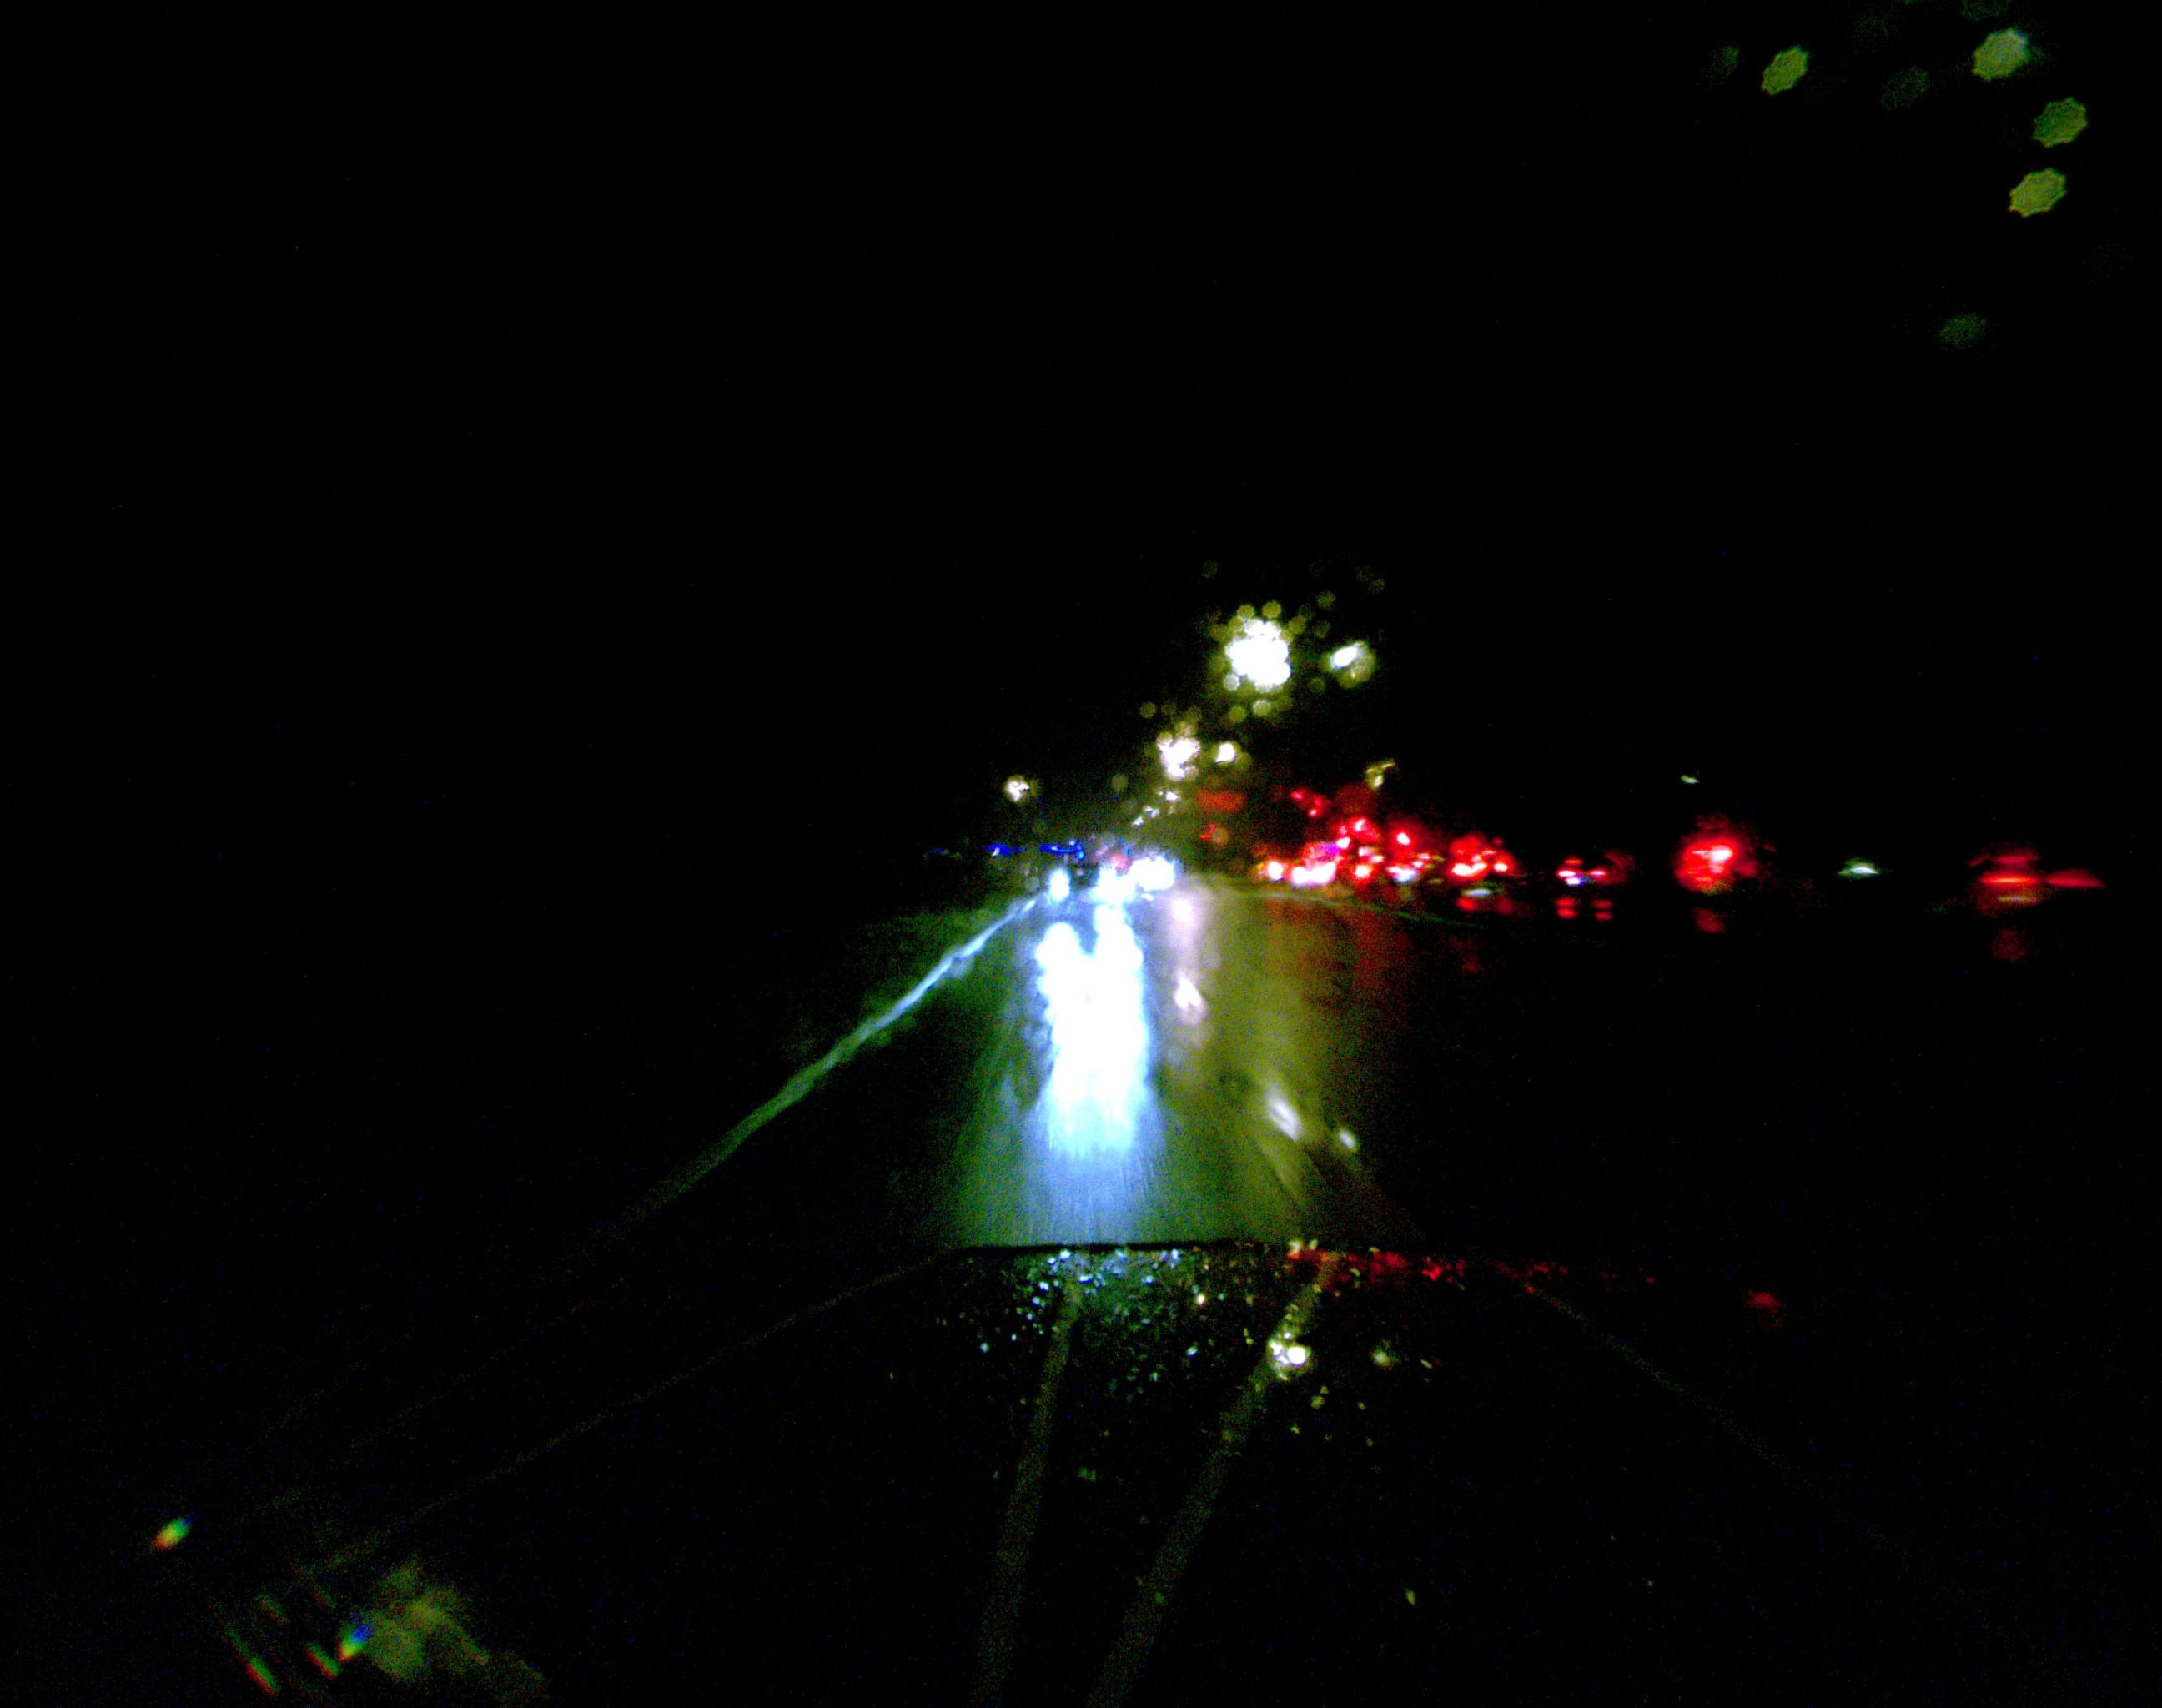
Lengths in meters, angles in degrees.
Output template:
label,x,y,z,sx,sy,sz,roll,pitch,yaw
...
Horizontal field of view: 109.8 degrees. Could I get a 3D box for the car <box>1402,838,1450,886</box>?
label,x,y,z,sx,sy,sz,roll,pitch,yaw
car,21.588,0.457,47.414,2.251,2.693,5.619,-4,-1,28

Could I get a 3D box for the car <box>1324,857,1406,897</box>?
label,x,y,z,sx,sy,sz,roll,pitch,yaw
car,11.945,0.941,32.227,1.817,1.568,4.305,0,0,-1

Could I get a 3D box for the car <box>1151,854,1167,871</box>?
label,x,y,z,sx,sy,sz,roll,pitch,yaw
car,9.888,1.072,96.630,1.666,1.844,4.145,-3,3,3

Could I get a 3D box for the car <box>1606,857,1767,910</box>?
label,x,y,z,sx,sy,sz,roll,pitch,yaw
car,18.493,0.844,23.463,1.764,1.369,4.039,-1,1,0

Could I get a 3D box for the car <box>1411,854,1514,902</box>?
label,x,y,z,sx,sy,sz,roll,pitch,yaw
car,14.929,0.886,30.061,1.803,1.656,4.486,-1,1,0

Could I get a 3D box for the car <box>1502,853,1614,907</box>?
label,x,y,z,sx,sy,sz,roll,pitch,yaw
car,18.514,0.943,29.732,1.764,1.838,4.124,-1,1,0

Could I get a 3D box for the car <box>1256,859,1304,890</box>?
label,x,y,z,sx,sy,sz,roll,pitch,yaw
car,11.918,1.209,45.717,1.764,1.715,3.902,-2,-1,0

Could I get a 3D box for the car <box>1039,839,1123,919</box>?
label,x,y,z,sx,sy,sz,roll,pitch,yaw
car,0.116,0.691,24.116,2.002,1.915,4.368,-6,4,6

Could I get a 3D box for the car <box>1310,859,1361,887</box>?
label,x,y,z,sx,sy,sz,roll,pitch,yaw
car,15.179,1.089,45.493,1.717,1.478,4.057,-1,1,1

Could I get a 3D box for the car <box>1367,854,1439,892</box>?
label,x,y,z,sx,sy,sz,roll,pitch,yaw
car,15.535,0.864,36.893,1.803,1.656,3.976,-1,1,0

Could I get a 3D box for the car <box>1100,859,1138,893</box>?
label,x,y,z,sx,sy,sz,roll,pitch,yaw
car,2.048,1.154,41.961,1.830,1.640,4.135,-2,1,0

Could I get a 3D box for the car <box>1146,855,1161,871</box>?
label,x,y,z,sx,sy,sz,roll,pitch,yaw
car,9.901,1.226,104.144,1.792,2.013,4.146,-2,1,3

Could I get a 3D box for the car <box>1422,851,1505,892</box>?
label,x,y,z,sx,sy,sz,roll,pitch,yaw
car,18.196,0.805,36.345,1.803,1.788,4.250,-1,-1,0

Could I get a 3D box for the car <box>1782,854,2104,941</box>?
label,x,y,z,sx,sy,sz,roll,pitch,yaw
car,18.475,0.824,16.712,1.856,1.530,4.532,1,1,0

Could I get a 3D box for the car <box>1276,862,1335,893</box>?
label,x,y,z,sx,sy,sz,roll,pitch,yaw
car,11.532,1.157,39.354,1.781,1.475,4.413,-2,-1,1
